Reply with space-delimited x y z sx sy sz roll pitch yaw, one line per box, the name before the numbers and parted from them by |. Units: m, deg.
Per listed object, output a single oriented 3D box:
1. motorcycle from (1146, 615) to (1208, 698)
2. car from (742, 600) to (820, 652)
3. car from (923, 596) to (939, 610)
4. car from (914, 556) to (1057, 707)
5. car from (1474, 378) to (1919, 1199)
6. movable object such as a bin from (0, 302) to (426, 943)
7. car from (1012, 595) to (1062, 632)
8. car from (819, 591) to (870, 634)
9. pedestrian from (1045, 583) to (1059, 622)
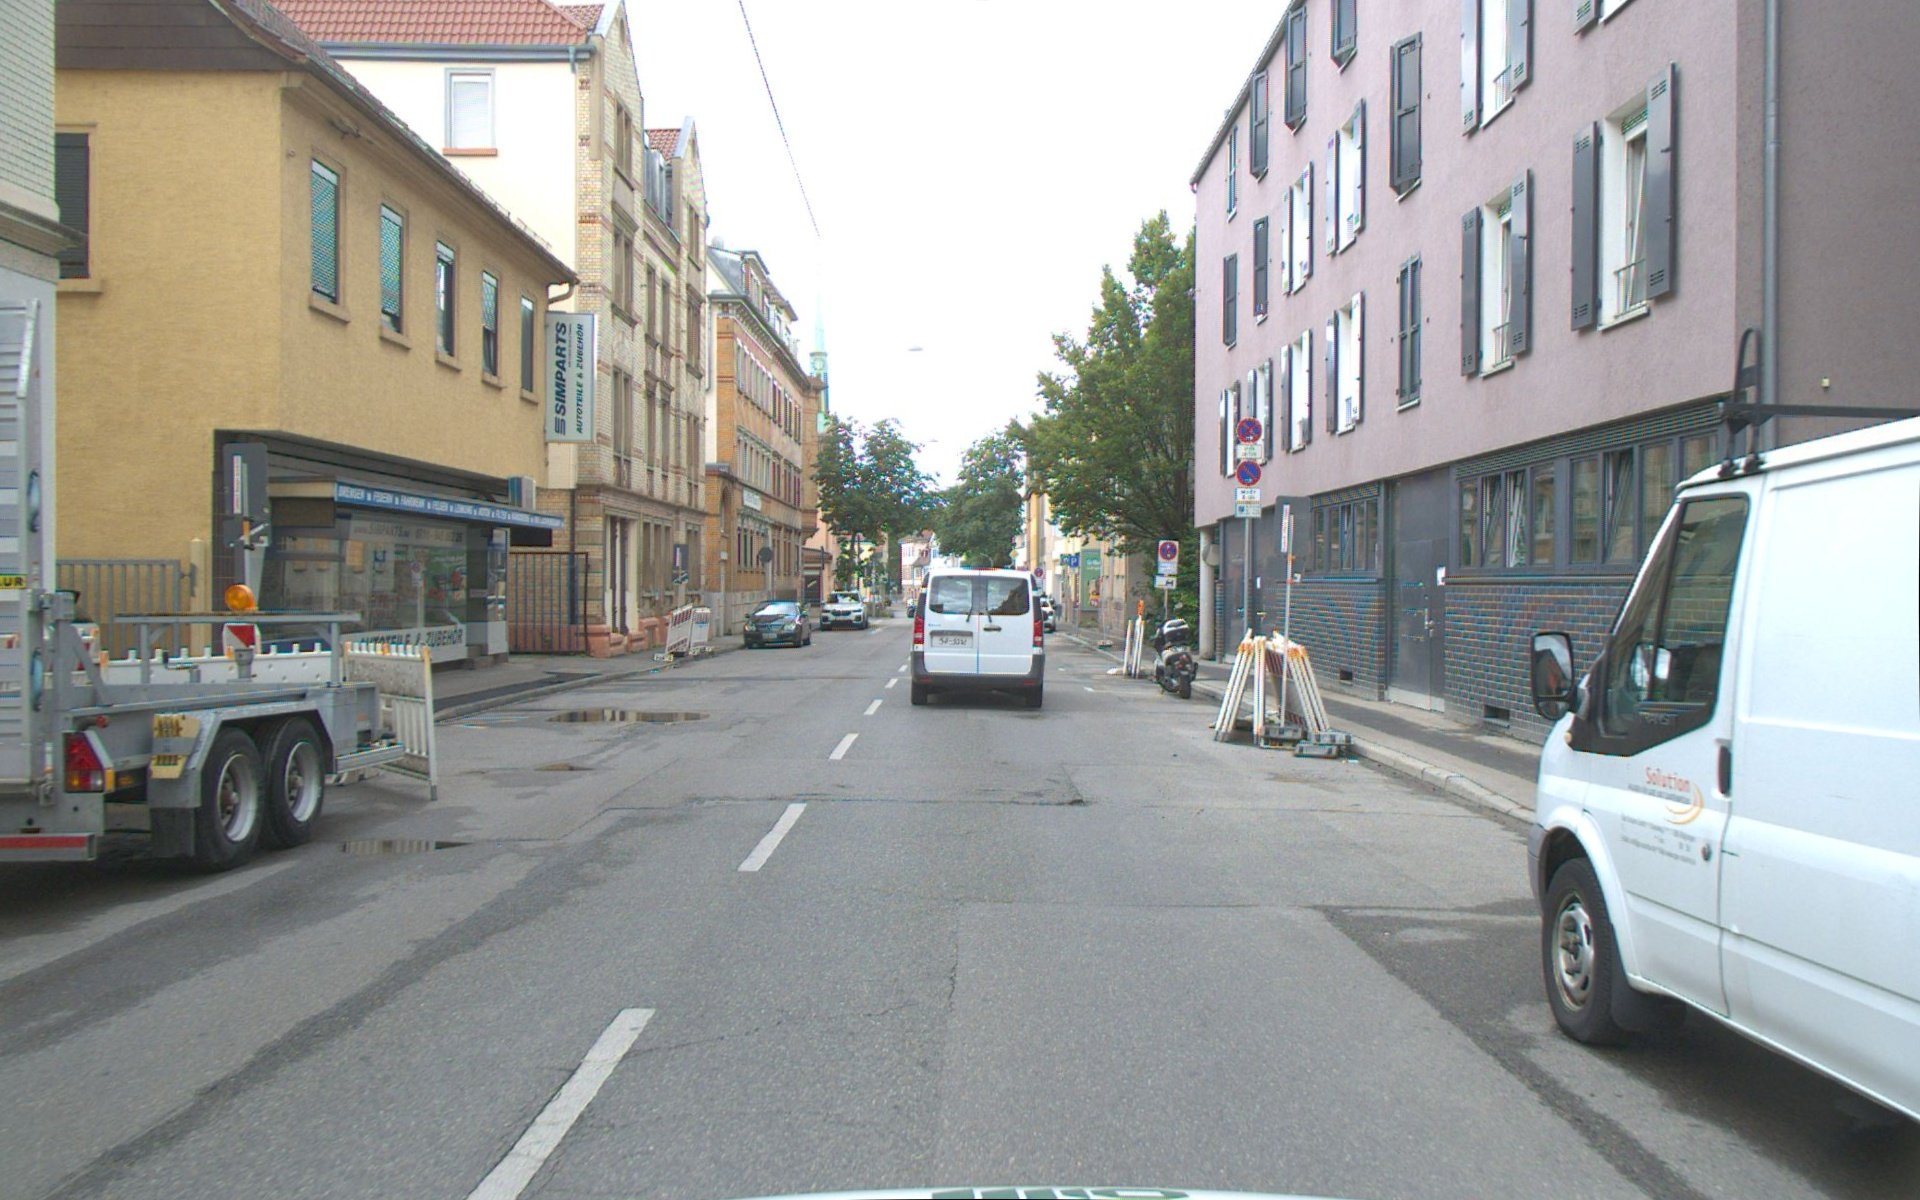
motorcycle | 3.520 0.887 26.999 0.630 1.268 2.267 1 0 -1
car | -5.405 0.757 50.285 1.953 1.467 3.999 -1 0 -1
car | -3.461 0.339 197.406 1.718 1.702 3.669 0 0 1
car | 0.331 0.429 24.296 1.853 1.962 4.645 1 0 0
car | 3.206 0.545 4.409 2.085 2.040 4.926 2 0 0
movable object such as a bin | -5.117 0.111 9.691 2.485 2.874 4.538 -1 0 -1
car | 3.449 0.589 75.009 1.953 1.511 3.999 4 0 -1
car | -5.191 0.548 74.851 1.953 1.771 3.999 4 0 -1
pedestrian | 4.986 0.116 89.379 0.610 2.048 0.907 4 0 4
